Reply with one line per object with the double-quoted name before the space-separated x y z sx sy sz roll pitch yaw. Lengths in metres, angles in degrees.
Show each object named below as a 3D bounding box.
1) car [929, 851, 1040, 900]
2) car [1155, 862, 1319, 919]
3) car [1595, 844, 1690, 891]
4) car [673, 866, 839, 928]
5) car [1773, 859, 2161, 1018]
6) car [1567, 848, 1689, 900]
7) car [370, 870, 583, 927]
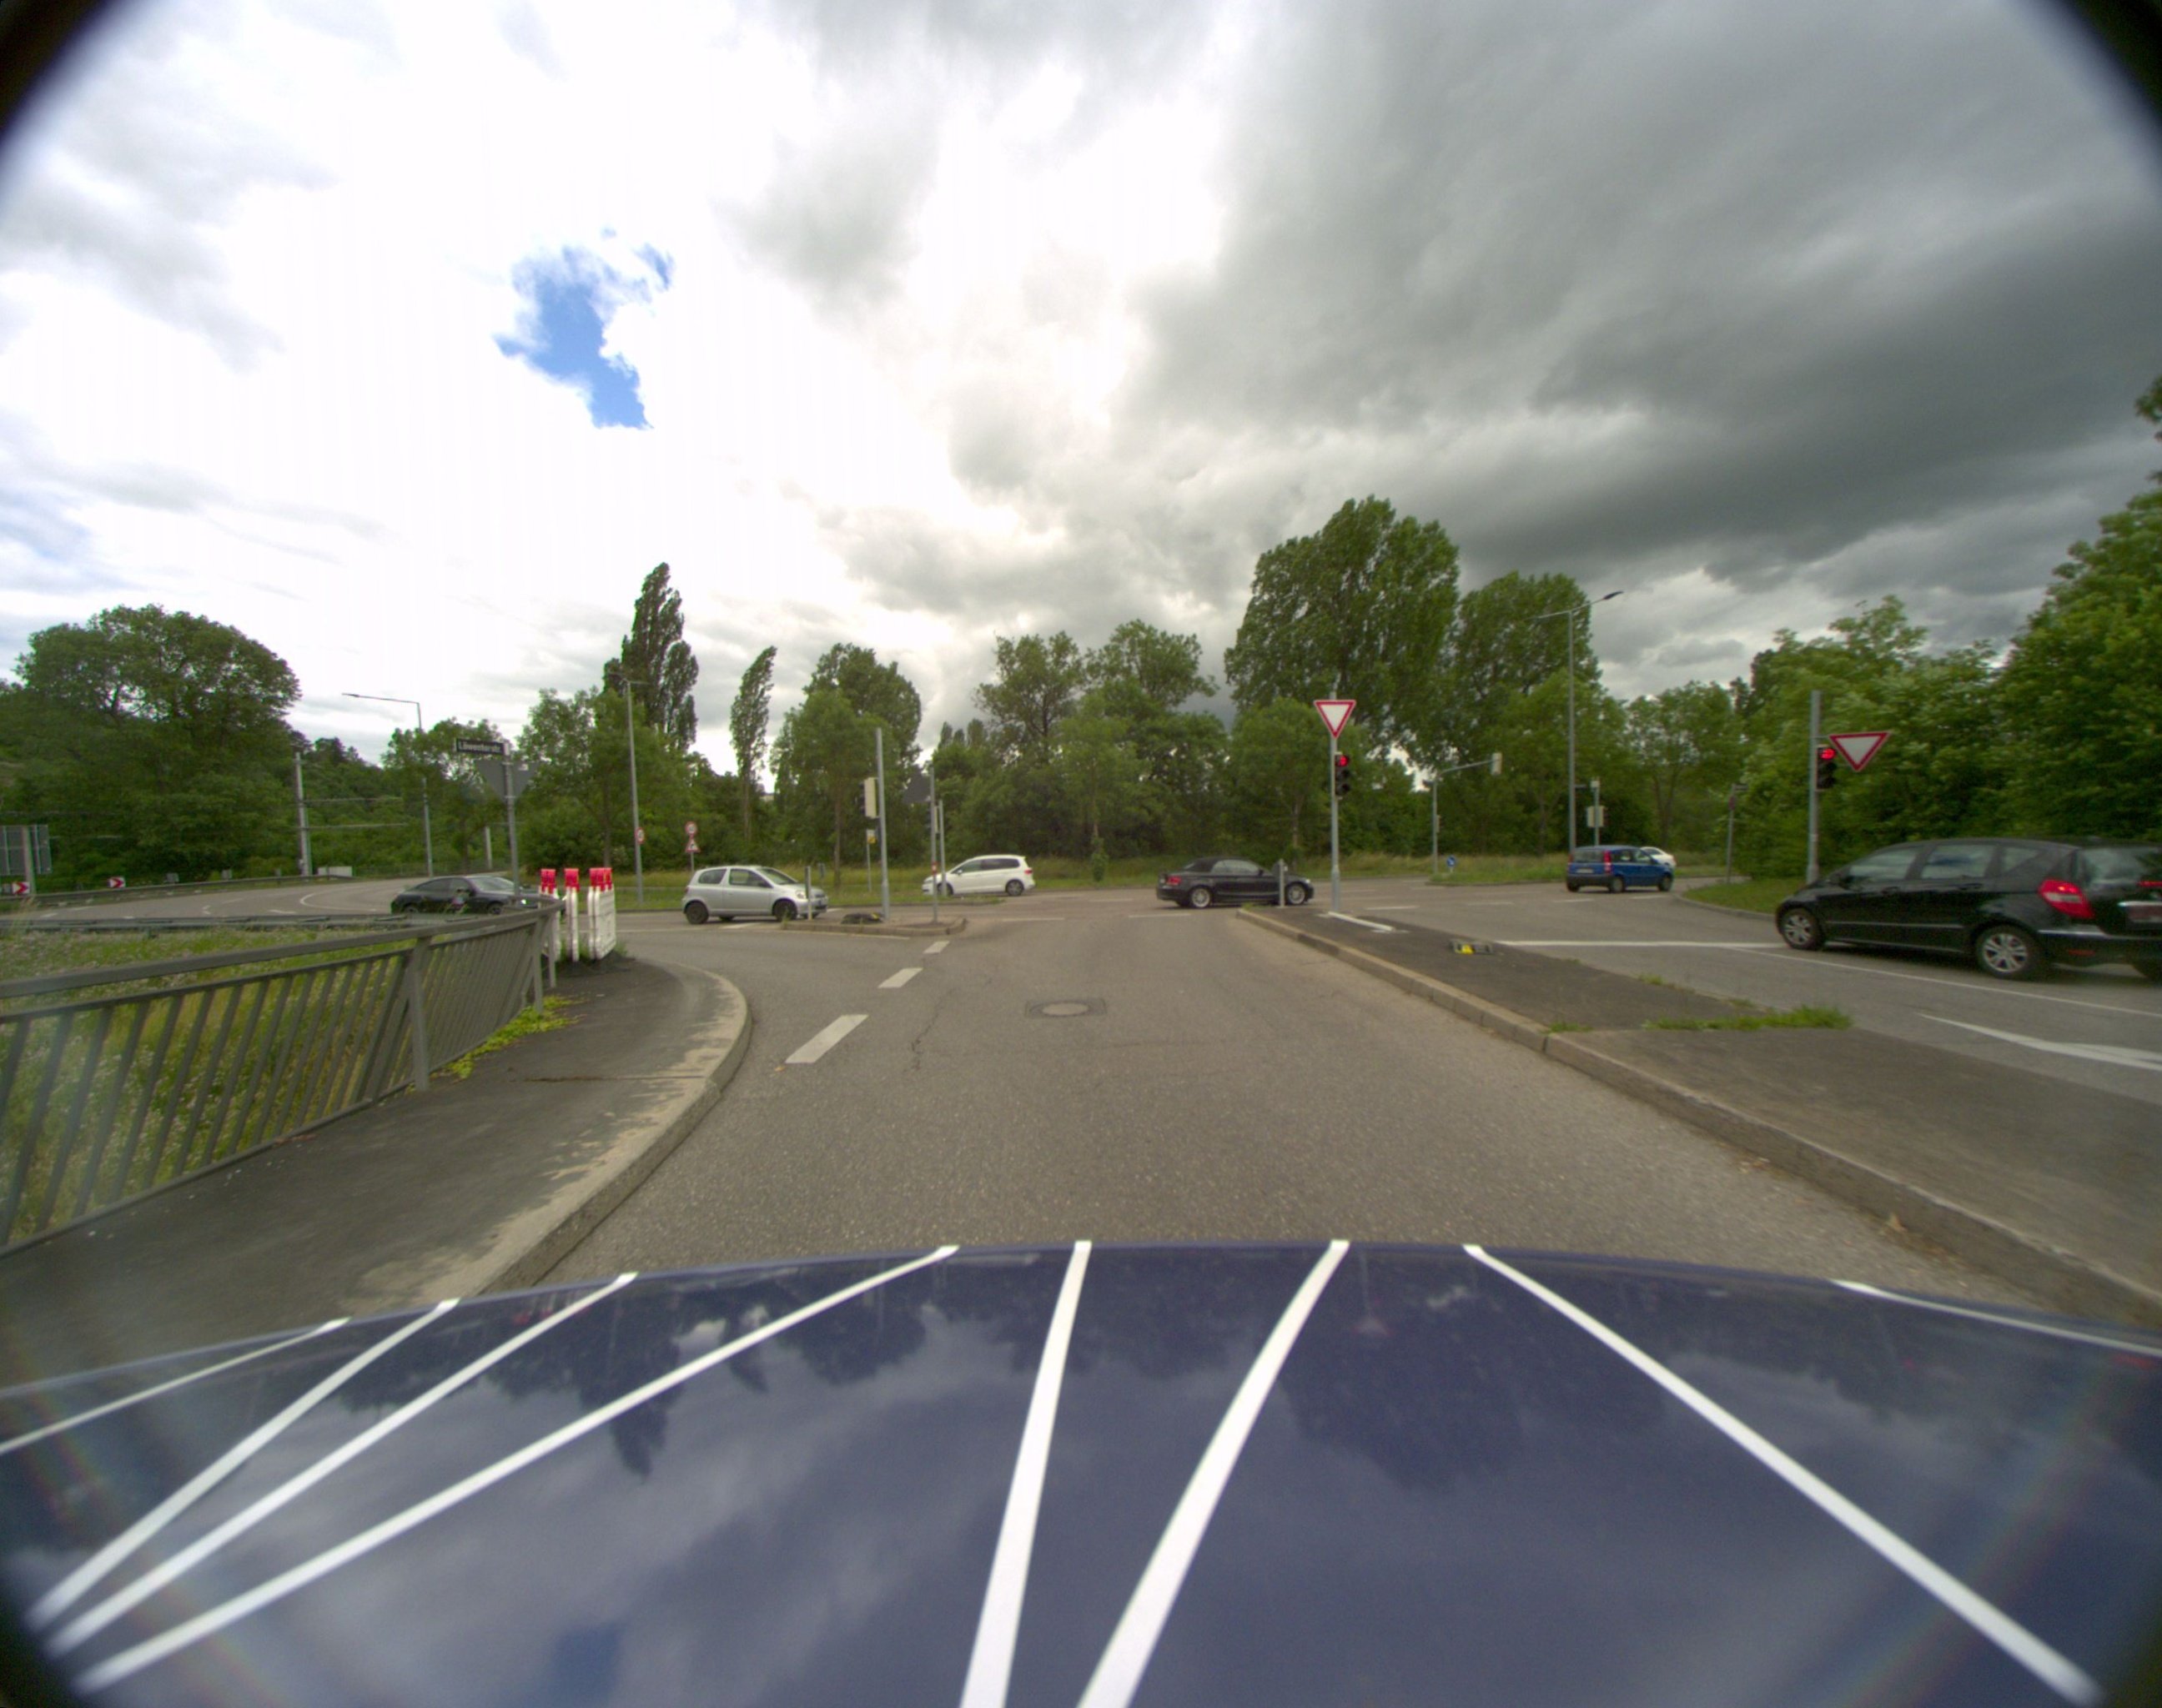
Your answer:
"car" -3.973 0.842 31.093 4.323 1.750 2.081 -2 1 -10
"car" 4.226 0.971 20.811 4.083 1.360 1.567 -2 0 -8
"car" 28.358 0.636 38.396 4.326 1.984 1.931 -4 4 -23
"car" -8.521 1.100 20.128 3.625 1.461 1.674 -1 1 3
"car" 11.034 0.860 9.404 1.641 1.543 3.790 1 0 4
"car" 17.652 0.611 24.536 3.383 1.498 1.545 -1 0 -20
"car" -16.934 1.231 21.365 4.956 1.468 1.880 -1 0 11
